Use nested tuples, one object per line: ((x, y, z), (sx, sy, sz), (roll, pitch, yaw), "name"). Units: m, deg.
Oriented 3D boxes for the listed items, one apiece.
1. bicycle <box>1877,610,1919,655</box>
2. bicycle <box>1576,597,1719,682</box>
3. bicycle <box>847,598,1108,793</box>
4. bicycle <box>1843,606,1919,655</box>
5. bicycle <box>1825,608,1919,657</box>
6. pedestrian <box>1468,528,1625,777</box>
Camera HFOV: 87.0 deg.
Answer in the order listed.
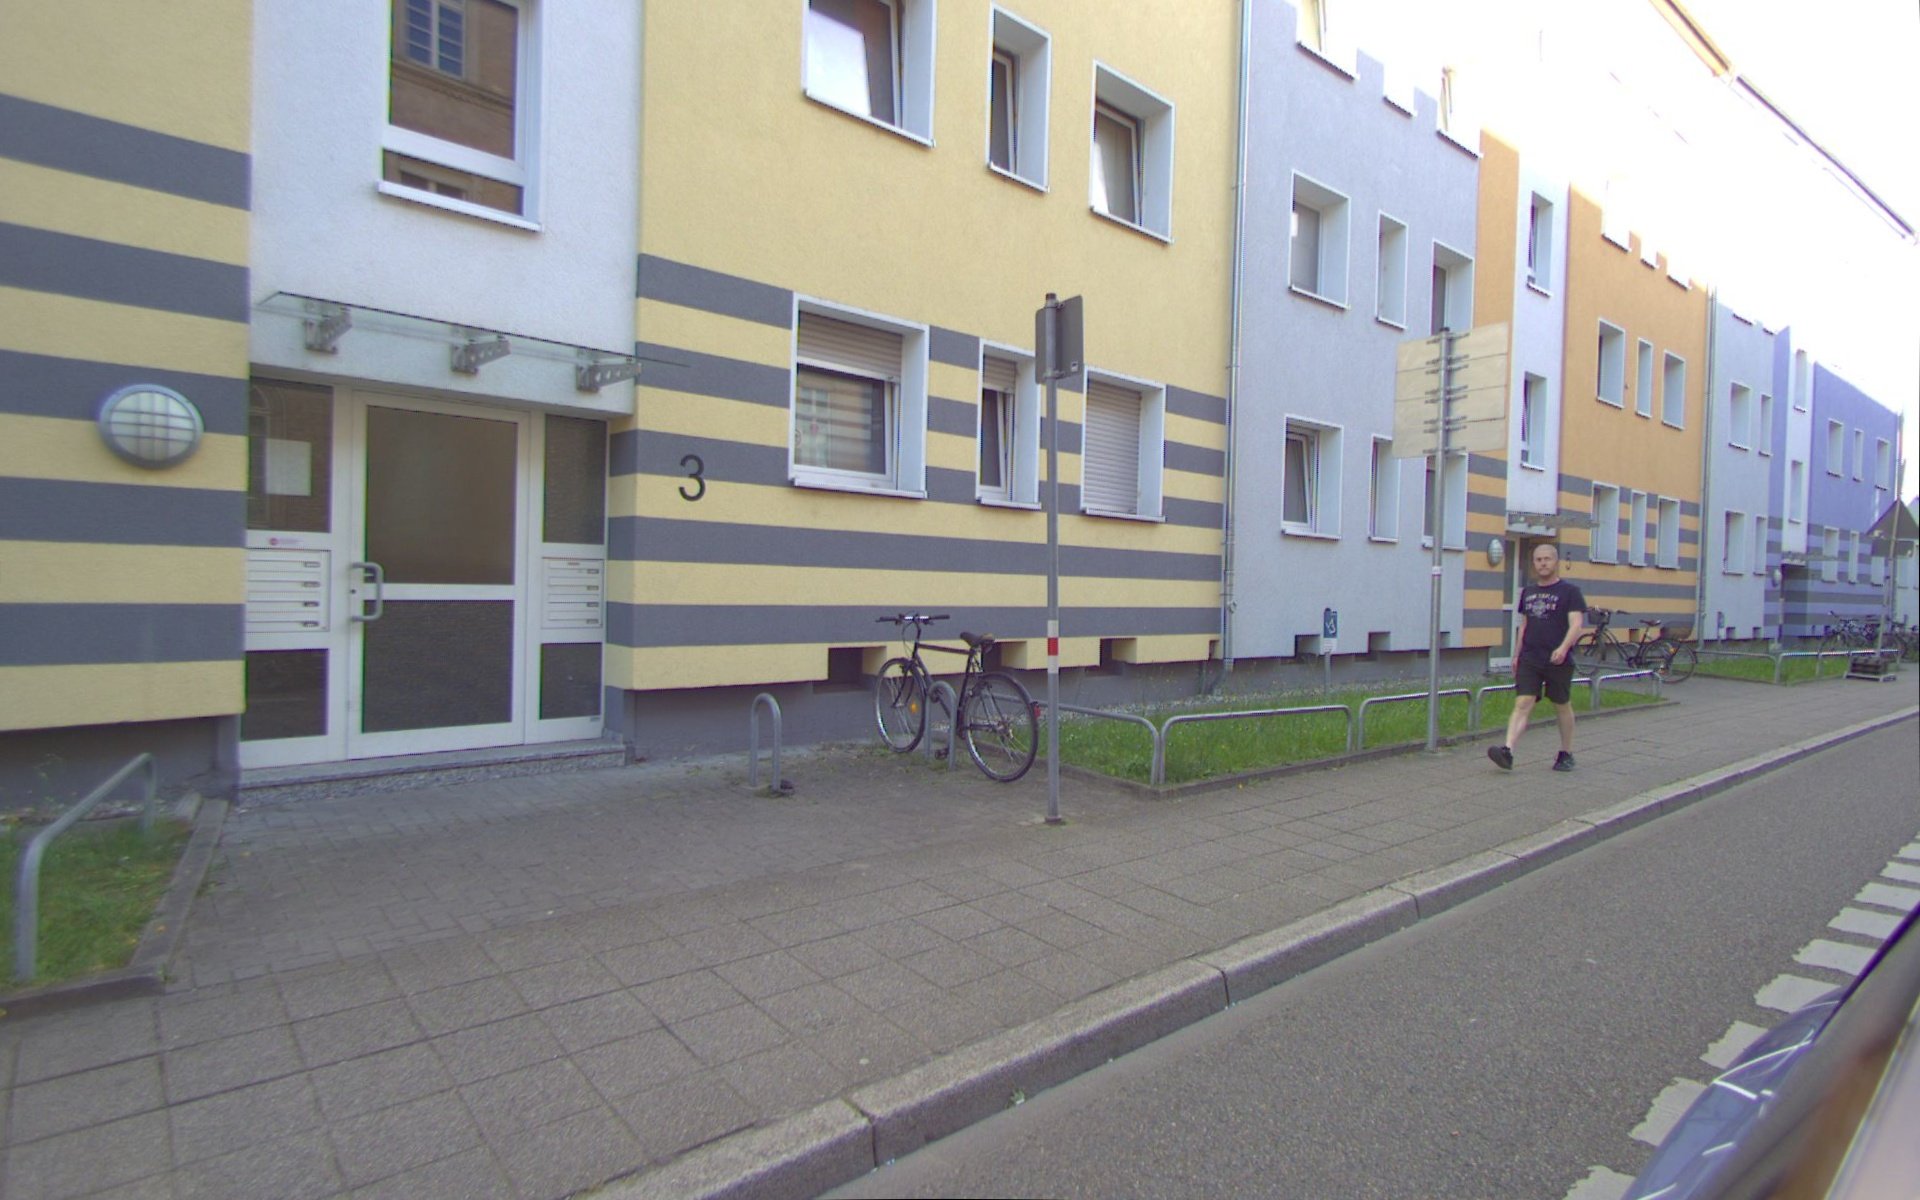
((24.180, 0.842, 25.349), (0.625, 1.048, 1.709), (1, 3, -42), "bicycle")
((10.752, 0.584, 15.876), (0.625, 1.173, 1.709), (1, 3, -42), "bicycle")
((0.056, 0.578, 7.059), (0.625, 1.074, 1.946), (1, 3, -42), "bicycle")
((23.262, 0.751, 25.274), (0.625, 1.095, 1.711), (1, 2, -40), "bicycle")
((22.293, 0.779, 24.679), (0.624, 1.058, 1.711), (1, 2, -39), "bicycle")
((4.607, 0.374, 7.949), (0.898, 1.810, 0.646), (1, 4, -38), "pedestrian")
